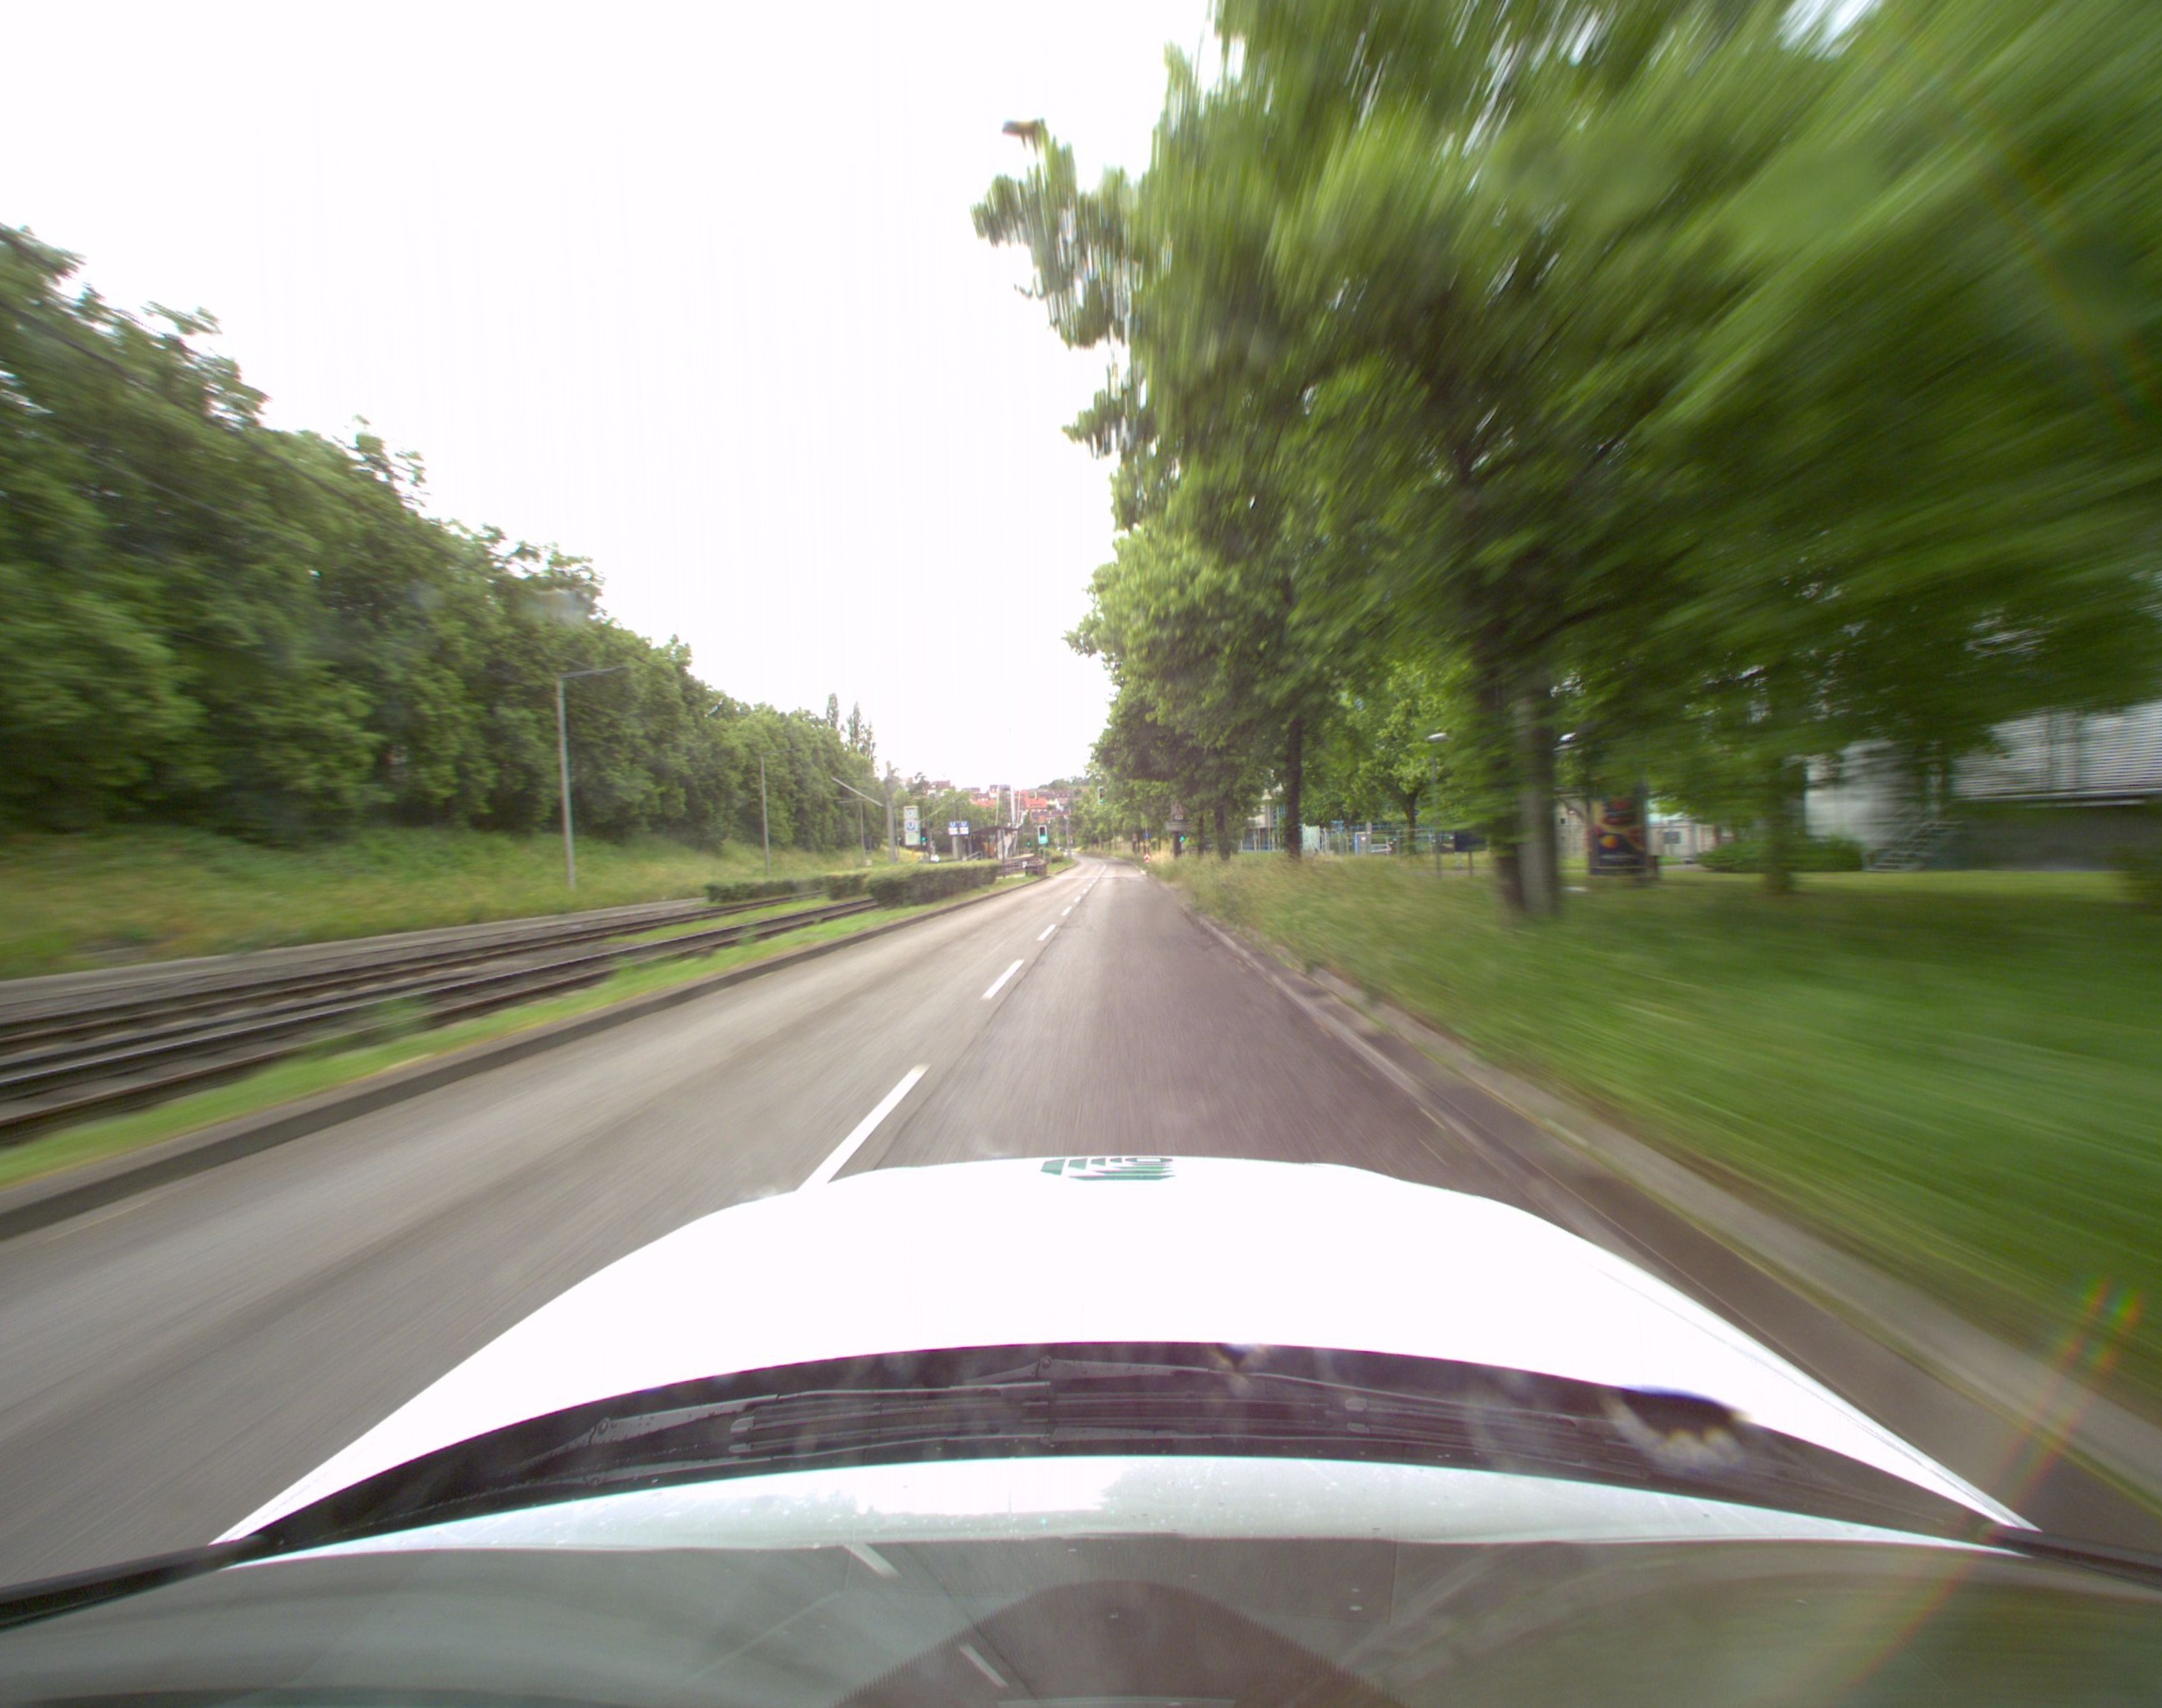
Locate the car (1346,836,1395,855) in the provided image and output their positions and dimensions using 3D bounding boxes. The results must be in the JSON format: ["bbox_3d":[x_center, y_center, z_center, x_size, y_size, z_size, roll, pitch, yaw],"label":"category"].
[{"bbox_3d":[27.725,-0.801,78.129,4.075,1.641,1.762,-2,3,7],"label":"car"}]

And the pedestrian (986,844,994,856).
[{"bbox_3d":[-9.982,-0.430,89.543,0.750,1.355,0.692,-2,0,-2],"label":"pedestrian"}]

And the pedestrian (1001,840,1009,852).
[{"bbox_3d":[-10.390,-1.038,111.750,0.932,1.611,1.026,-2,0,-2],"label":"pedestrian"}]
